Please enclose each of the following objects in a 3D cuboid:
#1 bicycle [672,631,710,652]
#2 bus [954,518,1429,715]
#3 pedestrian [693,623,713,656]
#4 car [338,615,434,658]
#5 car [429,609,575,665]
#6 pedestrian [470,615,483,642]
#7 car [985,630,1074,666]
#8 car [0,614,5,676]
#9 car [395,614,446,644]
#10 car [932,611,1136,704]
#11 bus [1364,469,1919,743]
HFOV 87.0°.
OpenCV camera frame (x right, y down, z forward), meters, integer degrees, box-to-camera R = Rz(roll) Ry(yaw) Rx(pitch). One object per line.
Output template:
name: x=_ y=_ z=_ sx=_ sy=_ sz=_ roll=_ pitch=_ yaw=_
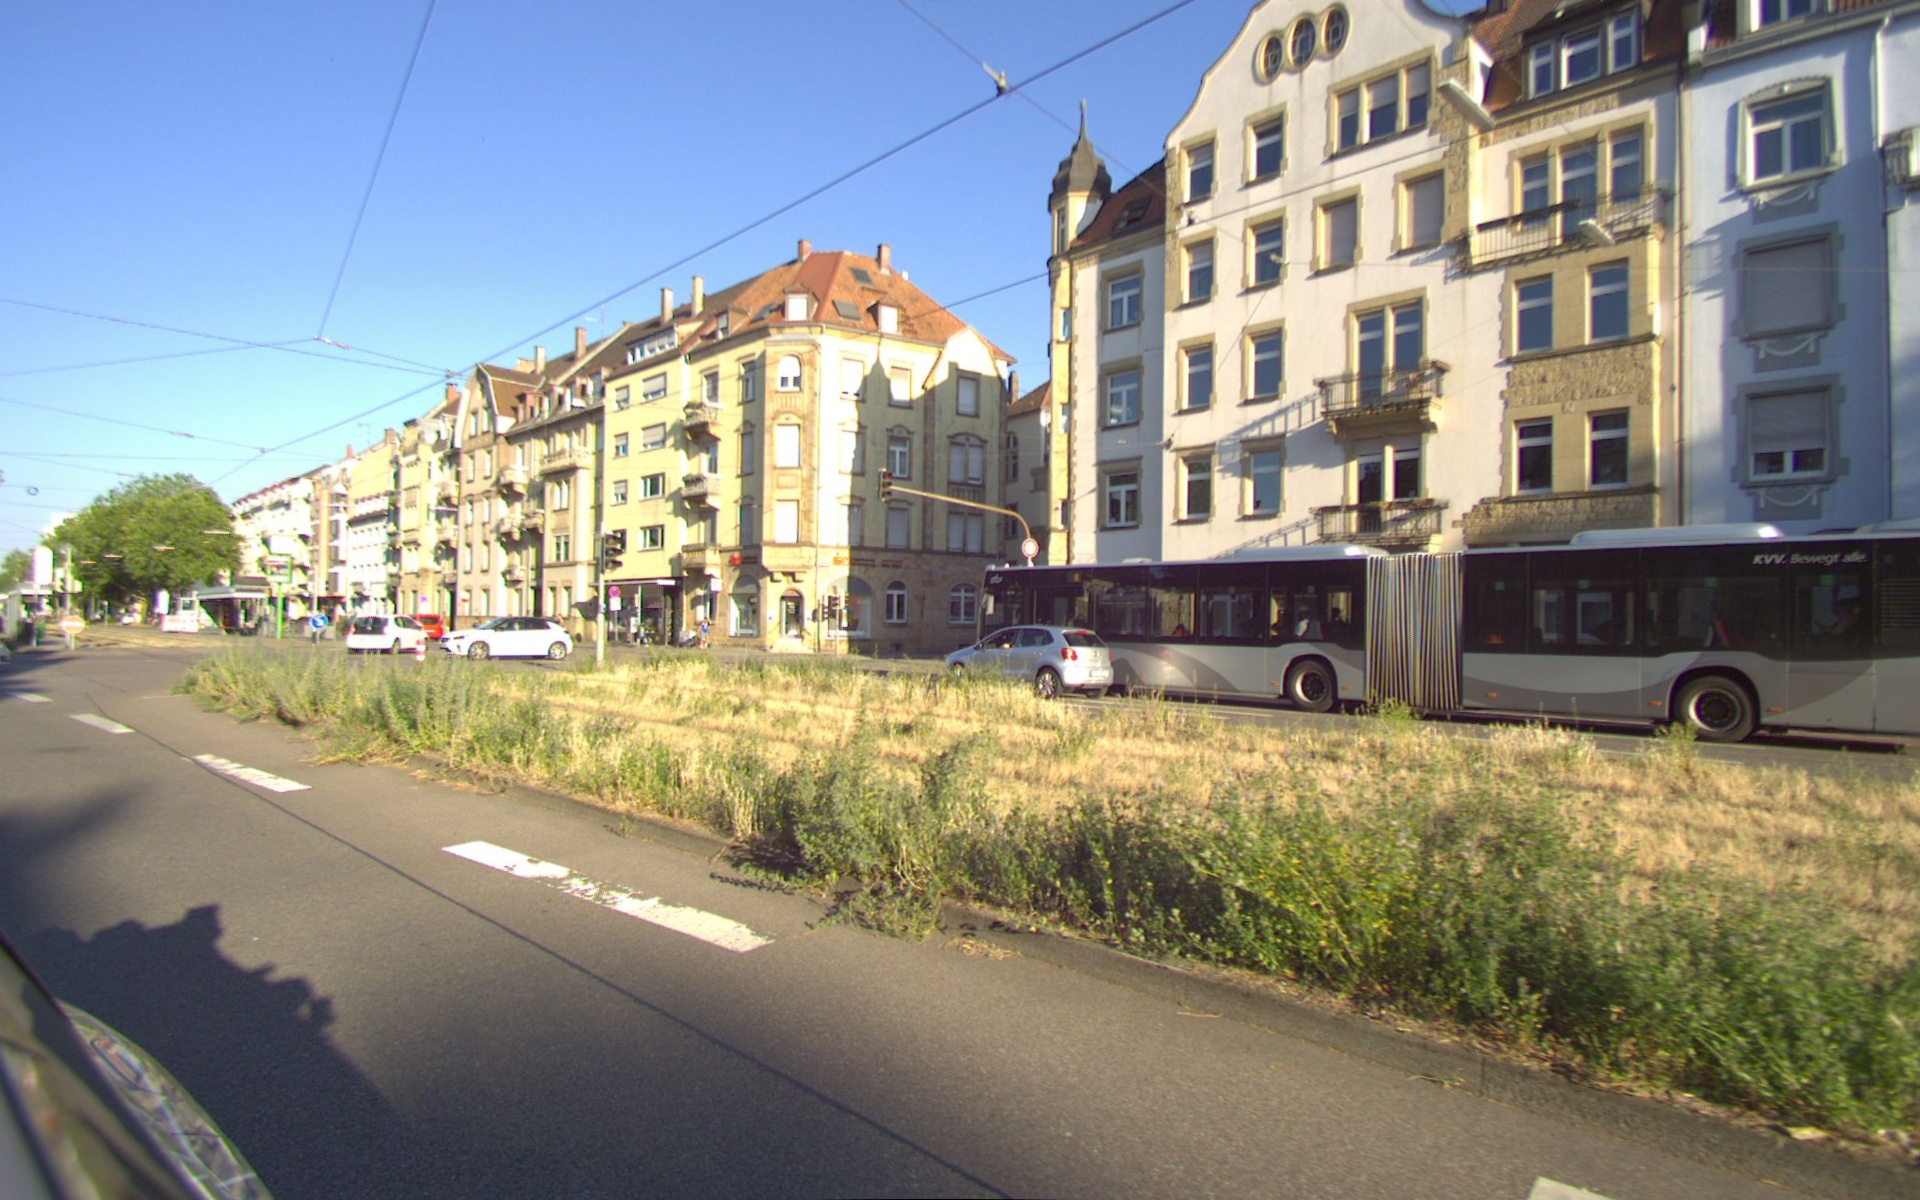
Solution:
bicycle: x=-14.107 y=2.156 z=53.069 sx=2.502 sy=1.064 sz=0.658 roll=-1 pitch=-2 yaw=42
bus: x=4.525 y=0.312 z=22.132 sx=9.903 sy=3.399 sz=3.228 roll=0 pitch=-2 yaw=45
pedestrian: x=-13.011 y=1.977 z=51.246 sx=0.770 sy=1.653 sz=0.621 roll=-1 pitch=-2 yaw=43
car: x=-21.298 y=1.358 z=37.725 sx=1.711 sy=1.491 sz=3.819 roll=1 pitch=-2 yaw=-6
car: x=-14.941 y=1.193 z=33.092 sx=3.939 sy=1.719 sz=1.838 roll=2 pitch=-2 yaw=-43
pedestrian: x=-34.545 y=2.032 z=72.285 sx=0.631 sy=1.851 sz=0.477 roll=2 pitch=-2 yaw=-43
car: x=3.176 y=2.185 z=45.705 sx=4.110 sy=1.488 sz=1.739 roll=4 pitch=-3 yaw=-45
car: x=-24.450 y=0.993 z=22.720 sx=1.839 sy=1.461 sz=4.064 roll=1 pitch=-1 yaw=33
car: x=-36.528 y=1.973 z=68.493 sx=1.892 sy=1.914 sz=4.313 roll=2 pitch=-2 yaw=-44
car: x=1.447 y=1.107 z=20.991 sx=1.907 sy=1.696 sz=4.005 roll=2 pitch=-1 yaw=-42
bus: x=12.358 y=0.118 z=14.387 sx=11.983 sy=3.399 sz=3.217 roll=0 pitch=-2 yaw=45
